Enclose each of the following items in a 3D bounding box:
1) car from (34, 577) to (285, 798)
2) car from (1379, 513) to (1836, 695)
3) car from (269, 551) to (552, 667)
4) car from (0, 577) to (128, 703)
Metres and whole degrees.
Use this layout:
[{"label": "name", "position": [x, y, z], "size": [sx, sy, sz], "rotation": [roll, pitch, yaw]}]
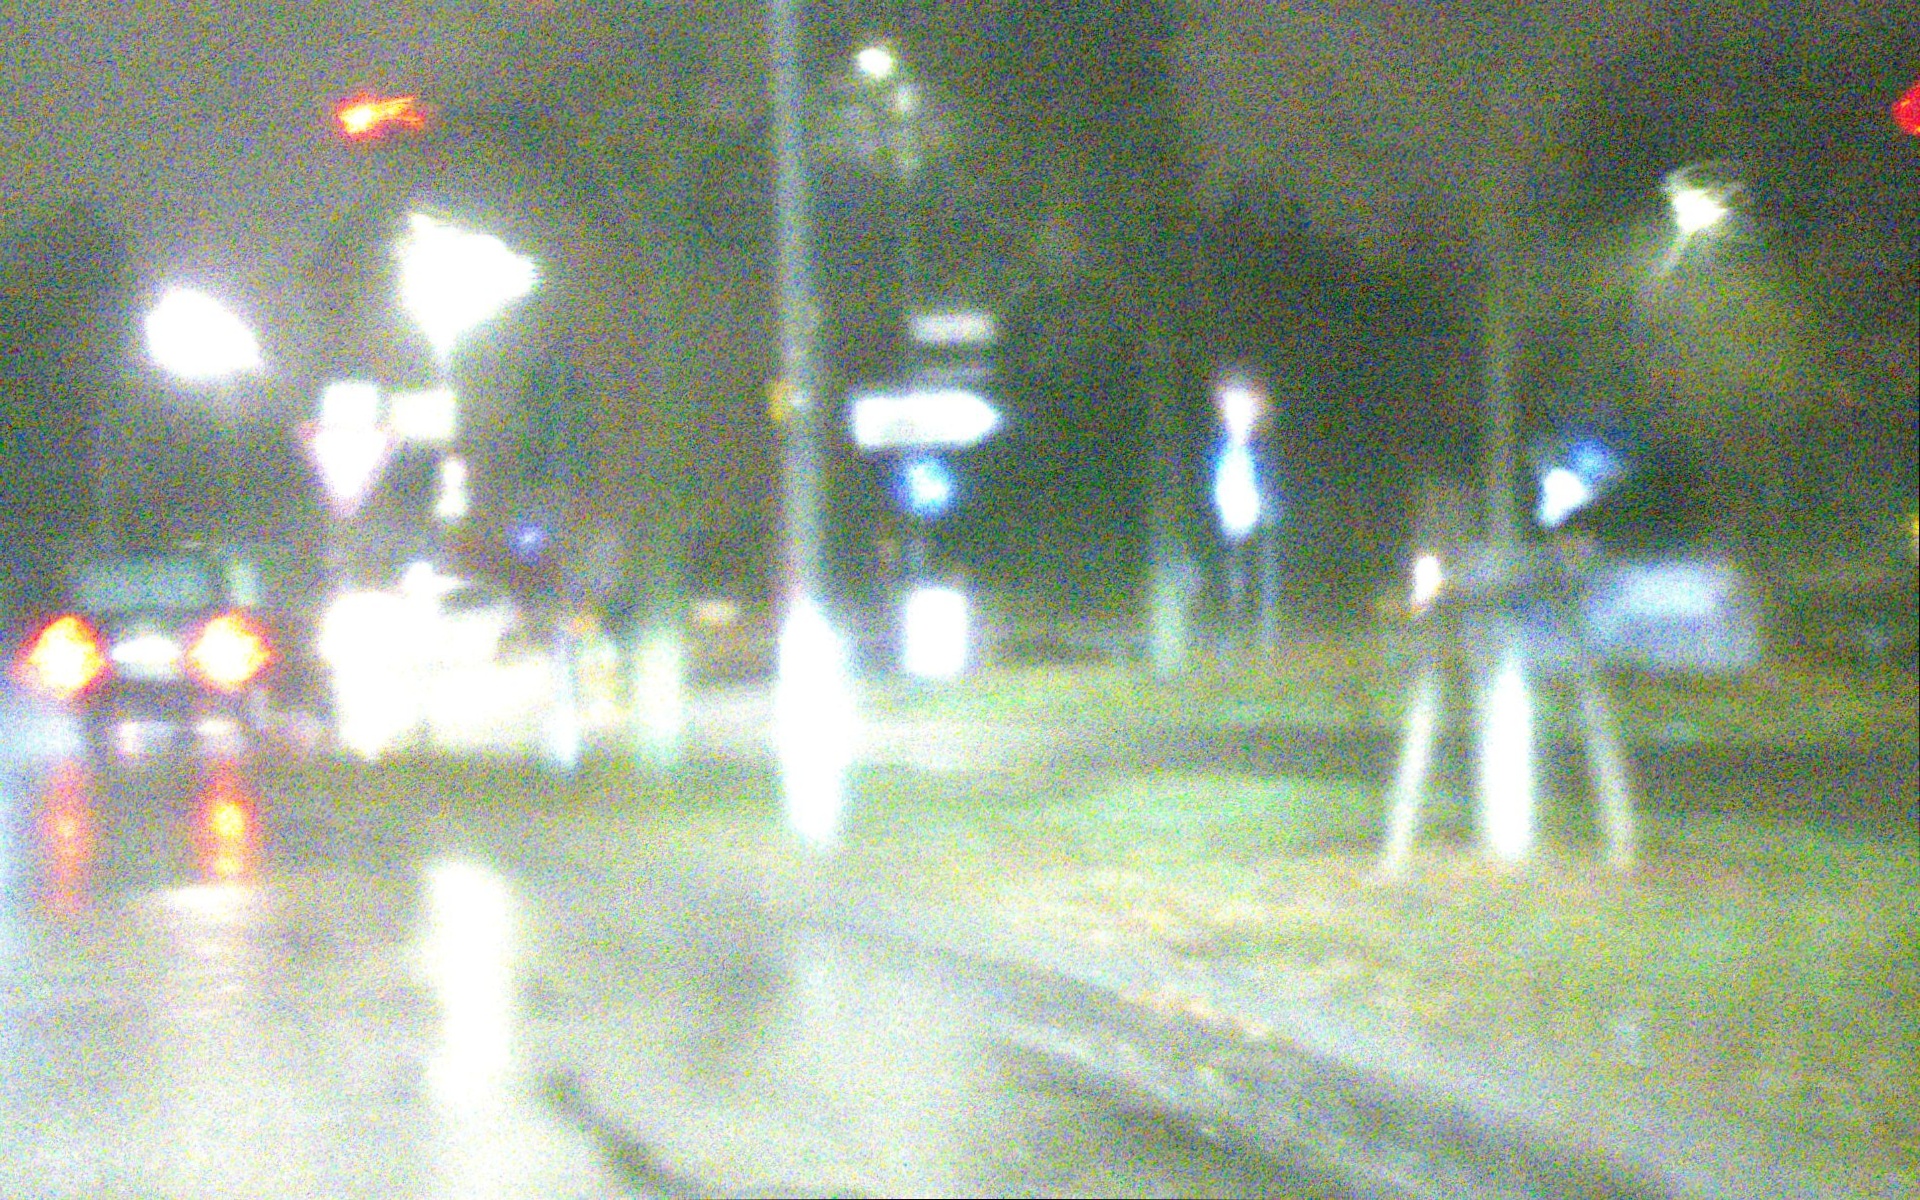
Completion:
[{"label": "car", "position": [-8.034, 0.811, 34.870], "size": [1.993, 2.007, 4.559], "rotation": [-1, 1, -7]}, {"label": "car", "position": [6.343, 0.005, 33.858], "size": [3.996, 1.678, 1.914], "rotation": [1, 2, 40]}, {"label": "car", "position": [-8.880, 0.109, 55.839], "size": [1.876, 1.752, 4.384], "rotation": [0, 2, 40]}, {"label": "car", "position": [-14.367, 0.580, 48.798], "size": [1.998, 1.730, 4.608], "rotation": [1, 2, 43]}]
